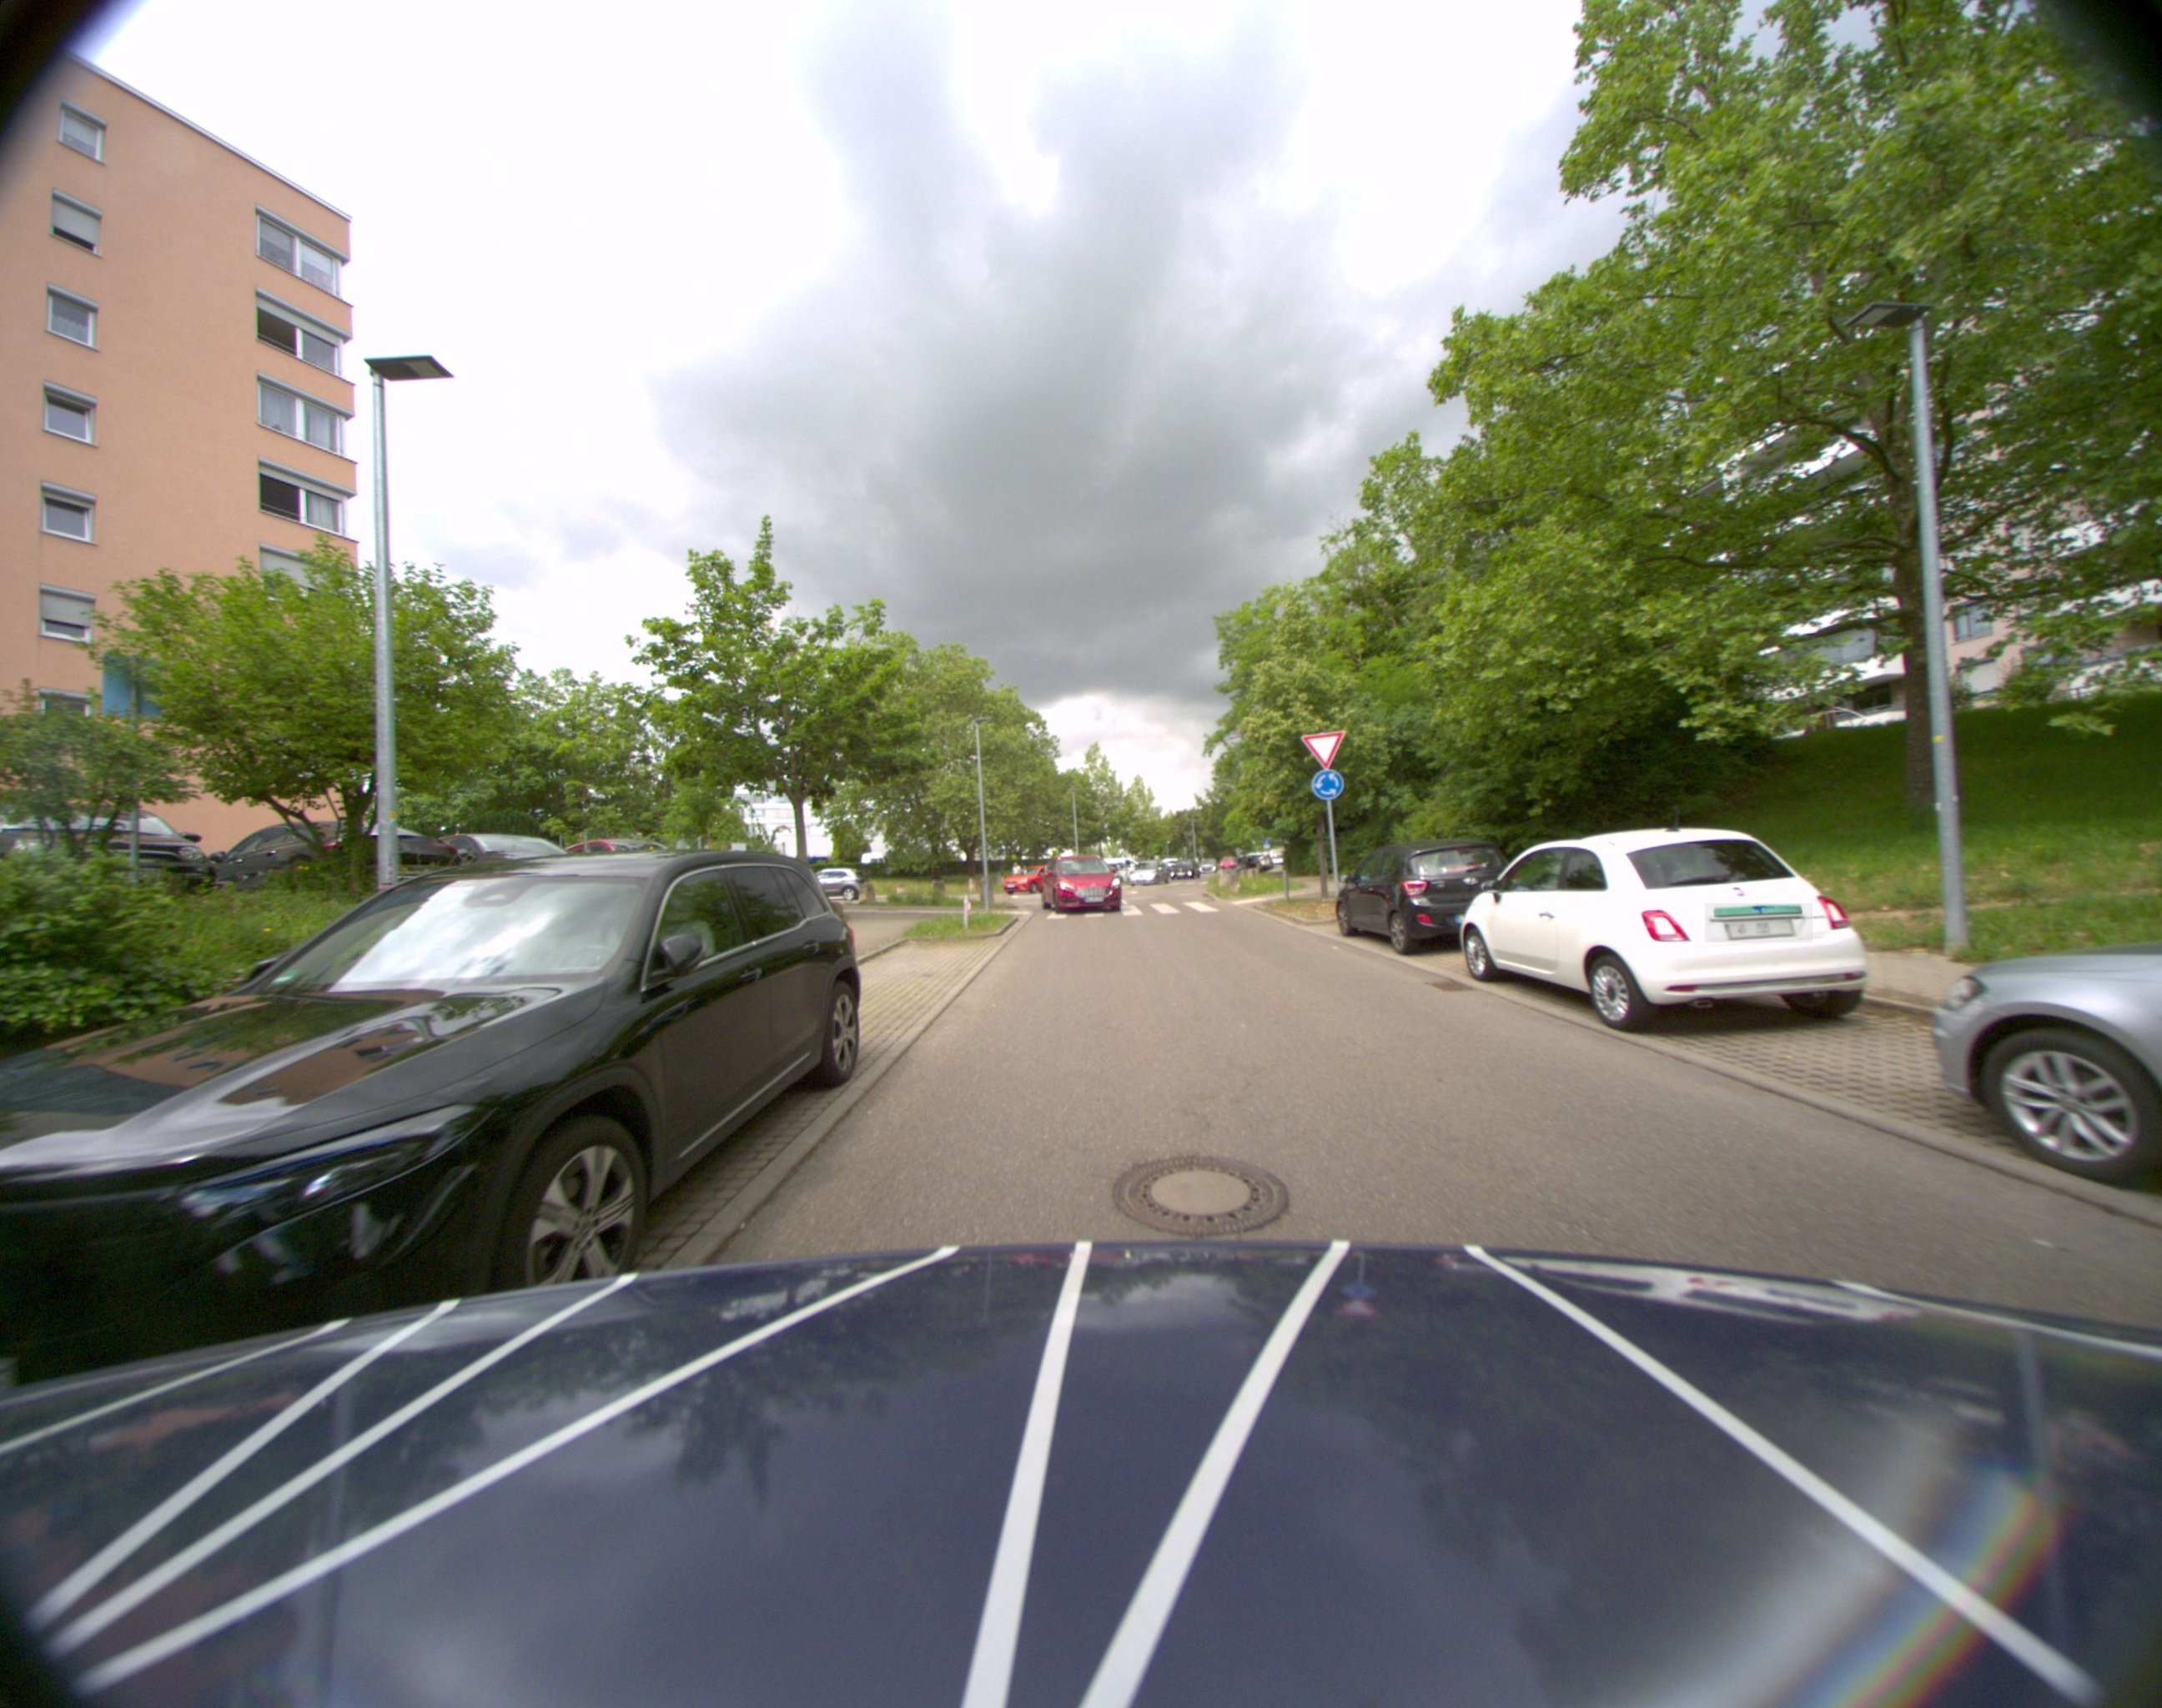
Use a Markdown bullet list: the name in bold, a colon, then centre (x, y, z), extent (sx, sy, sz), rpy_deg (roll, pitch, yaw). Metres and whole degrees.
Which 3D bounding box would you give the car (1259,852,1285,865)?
- **car**: centre (28.539, 0.655, 113.531), extent (1.674, 1.630, 3.994), rpy_deg (-4, -2, -22)

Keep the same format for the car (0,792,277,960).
- **car**: centre (-11.841, 0.363, 8.844), extent (3.992, 1.604, 1.947), rpy_deg (-5, -2, 20)

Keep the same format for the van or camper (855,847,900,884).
- **van or camper**: centre (-17.446, 1.029, 64.960), extent (2.118, 2.781, 4.470), rpy_deg (-3, -2, -36)

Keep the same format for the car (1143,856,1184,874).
- **car**: centre (8.366, 1.145, 76.845), extent (3.674, 1.637, 1.854), rpy_deg (-3, -1, 19)

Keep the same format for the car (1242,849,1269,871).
- **car**: centre (15.150, 0.507, 65.823), extent (1.810, 1.654, 4.443), rpy_deg (-7, -2, 17)

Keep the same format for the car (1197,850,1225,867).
- **car**: centre (13.217, 0.456, 77.092), extent (1.756, 1.606, 4.006), rpy_deg (-5, -2, 22)

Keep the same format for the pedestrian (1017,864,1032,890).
- **pedestrian**: centre (-3.648, 1.505, 49.420), extent (0.689, 1.646, 0.601), rpy_deg (-5, -1, 16)

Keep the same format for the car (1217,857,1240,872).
- **car**: centre (17.833, 1.255, 91.781), extent (1.756, 1.606, 4.006), rpy_deg (-5, -2, 22)

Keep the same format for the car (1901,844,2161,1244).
- **car**: centre (4.904, 0.683, 1.658), extent (1.889, 1.419, 4.000), rpy_deg (-4, 0, 1)

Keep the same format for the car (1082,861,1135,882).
- **car**: centre (2.065, 1.315, 56.367), extent (3.516, 1.452, 1.741), rpy_deg (-2, -1, 17)

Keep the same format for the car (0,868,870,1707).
- **car**: centre (-2.503, 0.939, 3.556), extent (1.818, 1.668, 4.370), rpy_deg (-2, -1, -1)

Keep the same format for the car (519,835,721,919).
- **car**: centre (-9.578, 0.487, 15.797), extent (3.654, 1.430, 1.687), rpy_deg (-5, -2, 23)

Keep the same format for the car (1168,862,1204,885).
- **car**: centre (8.362, 1.537, 60.293), extent (1.756, 1.606, 4.006), rpy_deg (-5, -2, 22)

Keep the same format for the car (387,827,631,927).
- **car**: centre (-10.037, 0.422, 13.345), extent (3.792, 1.413, 1.687), rpy_deg (-5, -2, 23)

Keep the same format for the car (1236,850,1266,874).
- **car**: centre (13.580, 0.582, 60.534), extent (1.802, 1.605, 4.483), rpy_deg (-7, -1, 17)

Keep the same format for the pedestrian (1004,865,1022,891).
- **pedestrian**: centre (-4.451, 1.560, 49.647), extent (0.870, 1.646, 0.594), rpy_deg (-4, -1, 16)

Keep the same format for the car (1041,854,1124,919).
- **car**: centre (-0.074, 0.886, 22.317), extent (1.980, 1.635, 4.534), rpy_deg (-2, 0, -5)

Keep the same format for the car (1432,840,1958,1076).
- **car**: centre (4.972, 0.688, 6.913), extent (1.889, 1.451, 3.546), rpy_deg (-5, 1, 2)

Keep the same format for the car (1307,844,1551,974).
- **car**: centre (5.007, 0.679, 11.634), extent (1.790, 1.459, 4.000), rpy_deg (-6, 1, 0)

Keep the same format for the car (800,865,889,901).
- **car**: centre (-11.959, 1.457, 38.636), extent (4.009, 1.608, 1.721), rpy_deg (-2, 0, -7)

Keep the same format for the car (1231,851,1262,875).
- **car**: centre (12.046, 0.659, 55.119), extent (1.692, 1.456, 4.462), rpy_deg (-7, -2, 17)

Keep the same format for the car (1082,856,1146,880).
- **car**: centre (2.696, 1.131, 61.333), extent (4.780, 1.821, 1.845), rpy_deg (-2, 0, 16)

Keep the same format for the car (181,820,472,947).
- **car**: centre (-10.967, 0.456, 11.051), extent (3.654, 1.489, 1.687), rpy_deg (-5, -2, 23)

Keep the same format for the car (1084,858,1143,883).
- **car**: centre (2.528, 1.289, 58.536), extent (4.156, 1.592, 1.741), rpy_deg (-5, -1, 16)

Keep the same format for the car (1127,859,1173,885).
- **car**: centre (4.557, 1.160, 49.522), extent (1.756, 1.506, 4.006), rpy_deg (-5, -2, 22)

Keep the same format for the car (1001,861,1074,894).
- **car**: centre (-2.260, 1.206, 40.220), extent (1.756, 1.506, 4.008), rpy_deg (-5, -2, 33)

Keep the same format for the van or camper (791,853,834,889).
- **van or camper**: centre (-23.027, 1.480, 65.057), extent (2.118, 2.781, 4.470), rpy_deg (-3, -2, -36)
